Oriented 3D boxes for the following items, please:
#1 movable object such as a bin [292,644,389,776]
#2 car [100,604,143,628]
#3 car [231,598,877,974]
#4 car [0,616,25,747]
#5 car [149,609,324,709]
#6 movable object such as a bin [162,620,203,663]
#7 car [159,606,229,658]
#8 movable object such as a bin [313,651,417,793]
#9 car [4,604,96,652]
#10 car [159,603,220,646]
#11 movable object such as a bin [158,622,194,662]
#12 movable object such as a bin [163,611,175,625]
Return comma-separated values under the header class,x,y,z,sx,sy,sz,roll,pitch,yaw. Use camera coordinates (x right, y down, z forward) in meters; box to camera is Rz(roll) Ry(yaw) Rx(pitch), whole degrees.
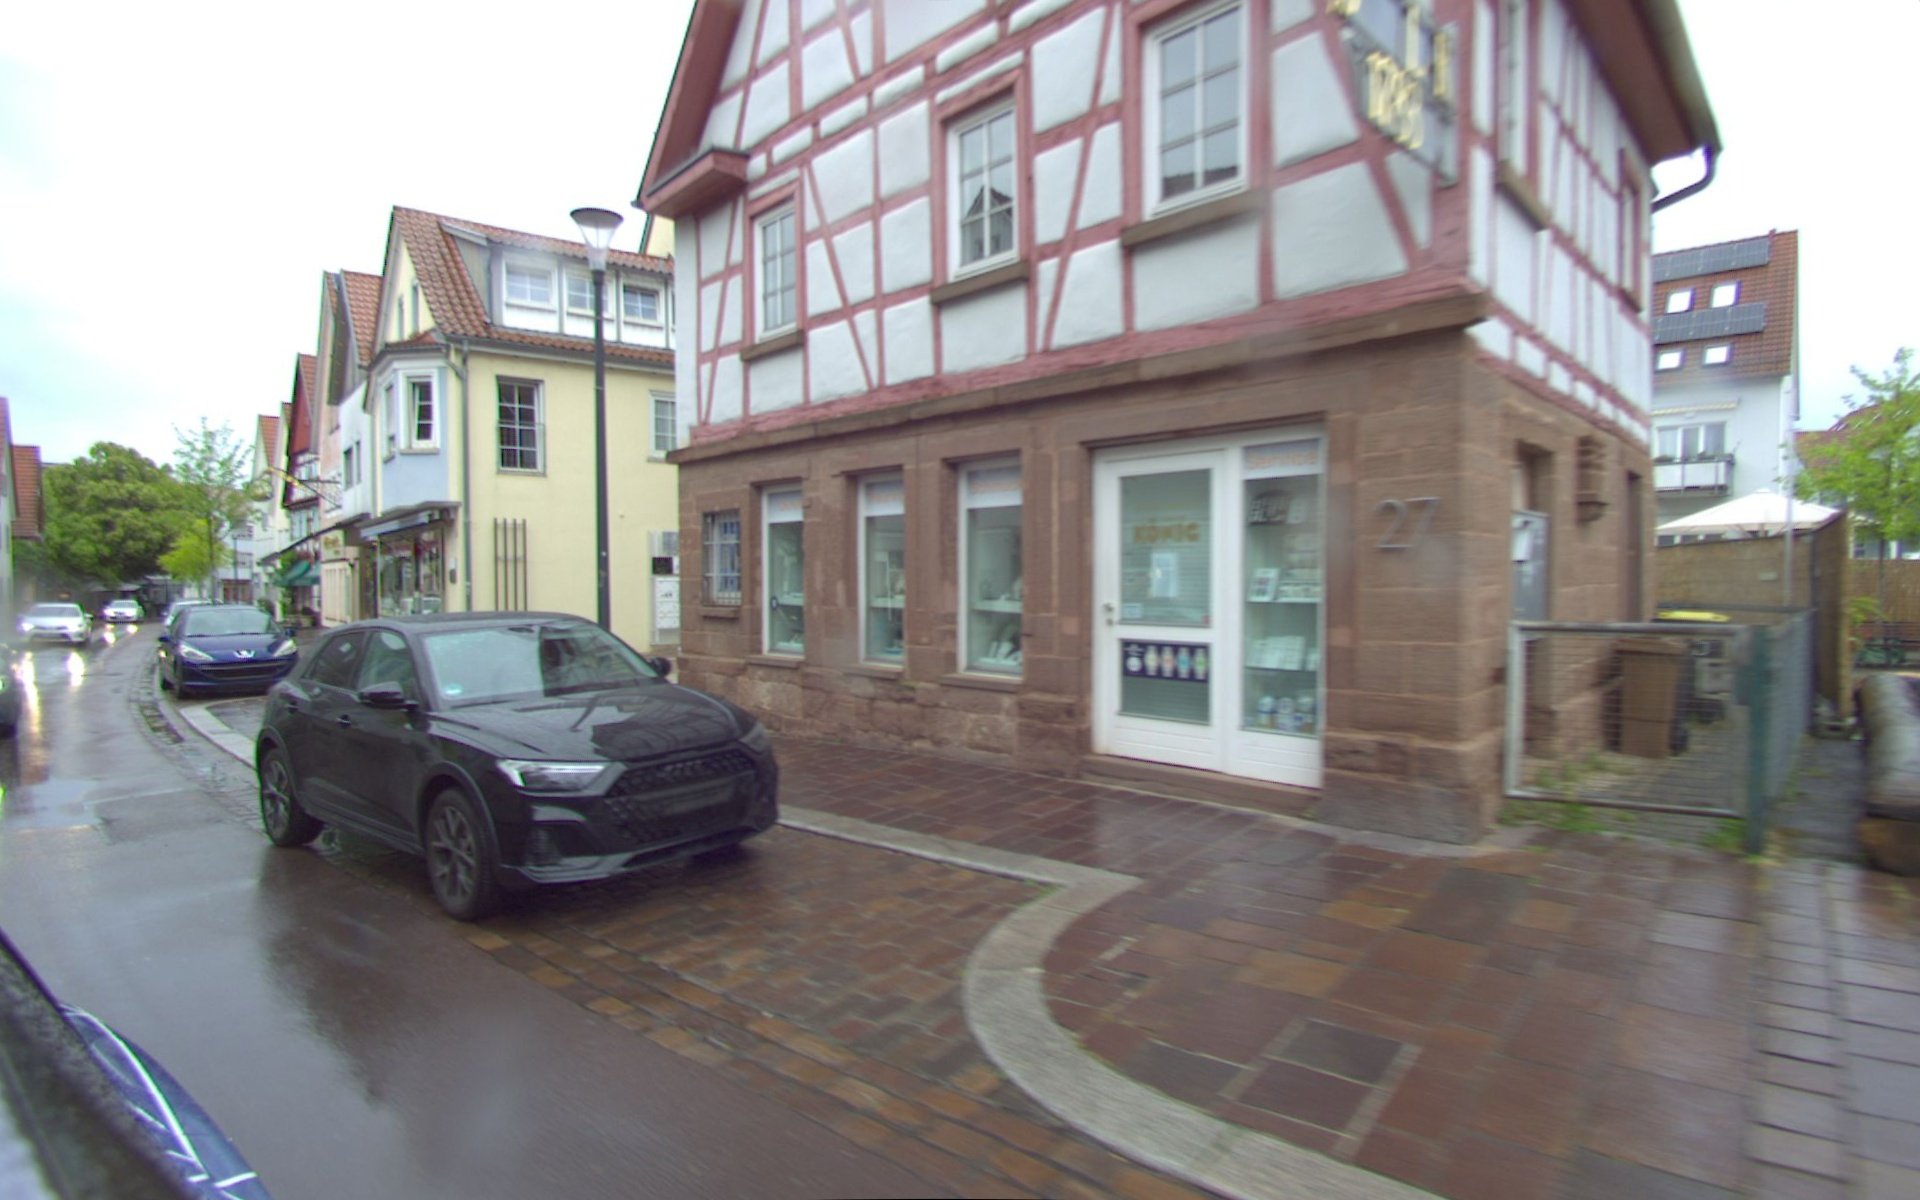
class,x,y,z,sx,sy,sz,roll,pitch,yaw
movable object such as a bin,-5.850,1.009,9.558,0.734,1.122,0.623,1,1,44
car,-55.652,1.023,67.229,1.967,1.464,4.010,0,1,-36
car,-2.656,0.809,6.255,3.995,1.505,1.974,-1,1,39
car,-12.689,0.928,12.253,1.970,1.417,4.899,-1,0,-42
car,-12.713,0.925,17.690,1.970,1.483,4.004,-2,1,-43
movable object such as a bin,-21.872,1.167,28.473,0.805,1.114,0.611,-5,4,-42
car,-26.137,1.035,34.608,1.803,1.578,4.009,0,1,-36
movable object such as a bin,-5.293,1.051,8.999,0.734,1.131,0.623,1,1,44
car,-31.811,0.931,35.482,1.967,1.464,4.010,0,1,-36
car,-33.169,1.000,43.541,1.811,1.563,4.289,-5,4,-40
movable object such as a bin,-23.424,1.245,30.247,0.805,1.114,0.611,-1,1,-42
movable object such as a bin,-67.526,1.563,86.391,0.537,1.158,0.587,0,1,-11
